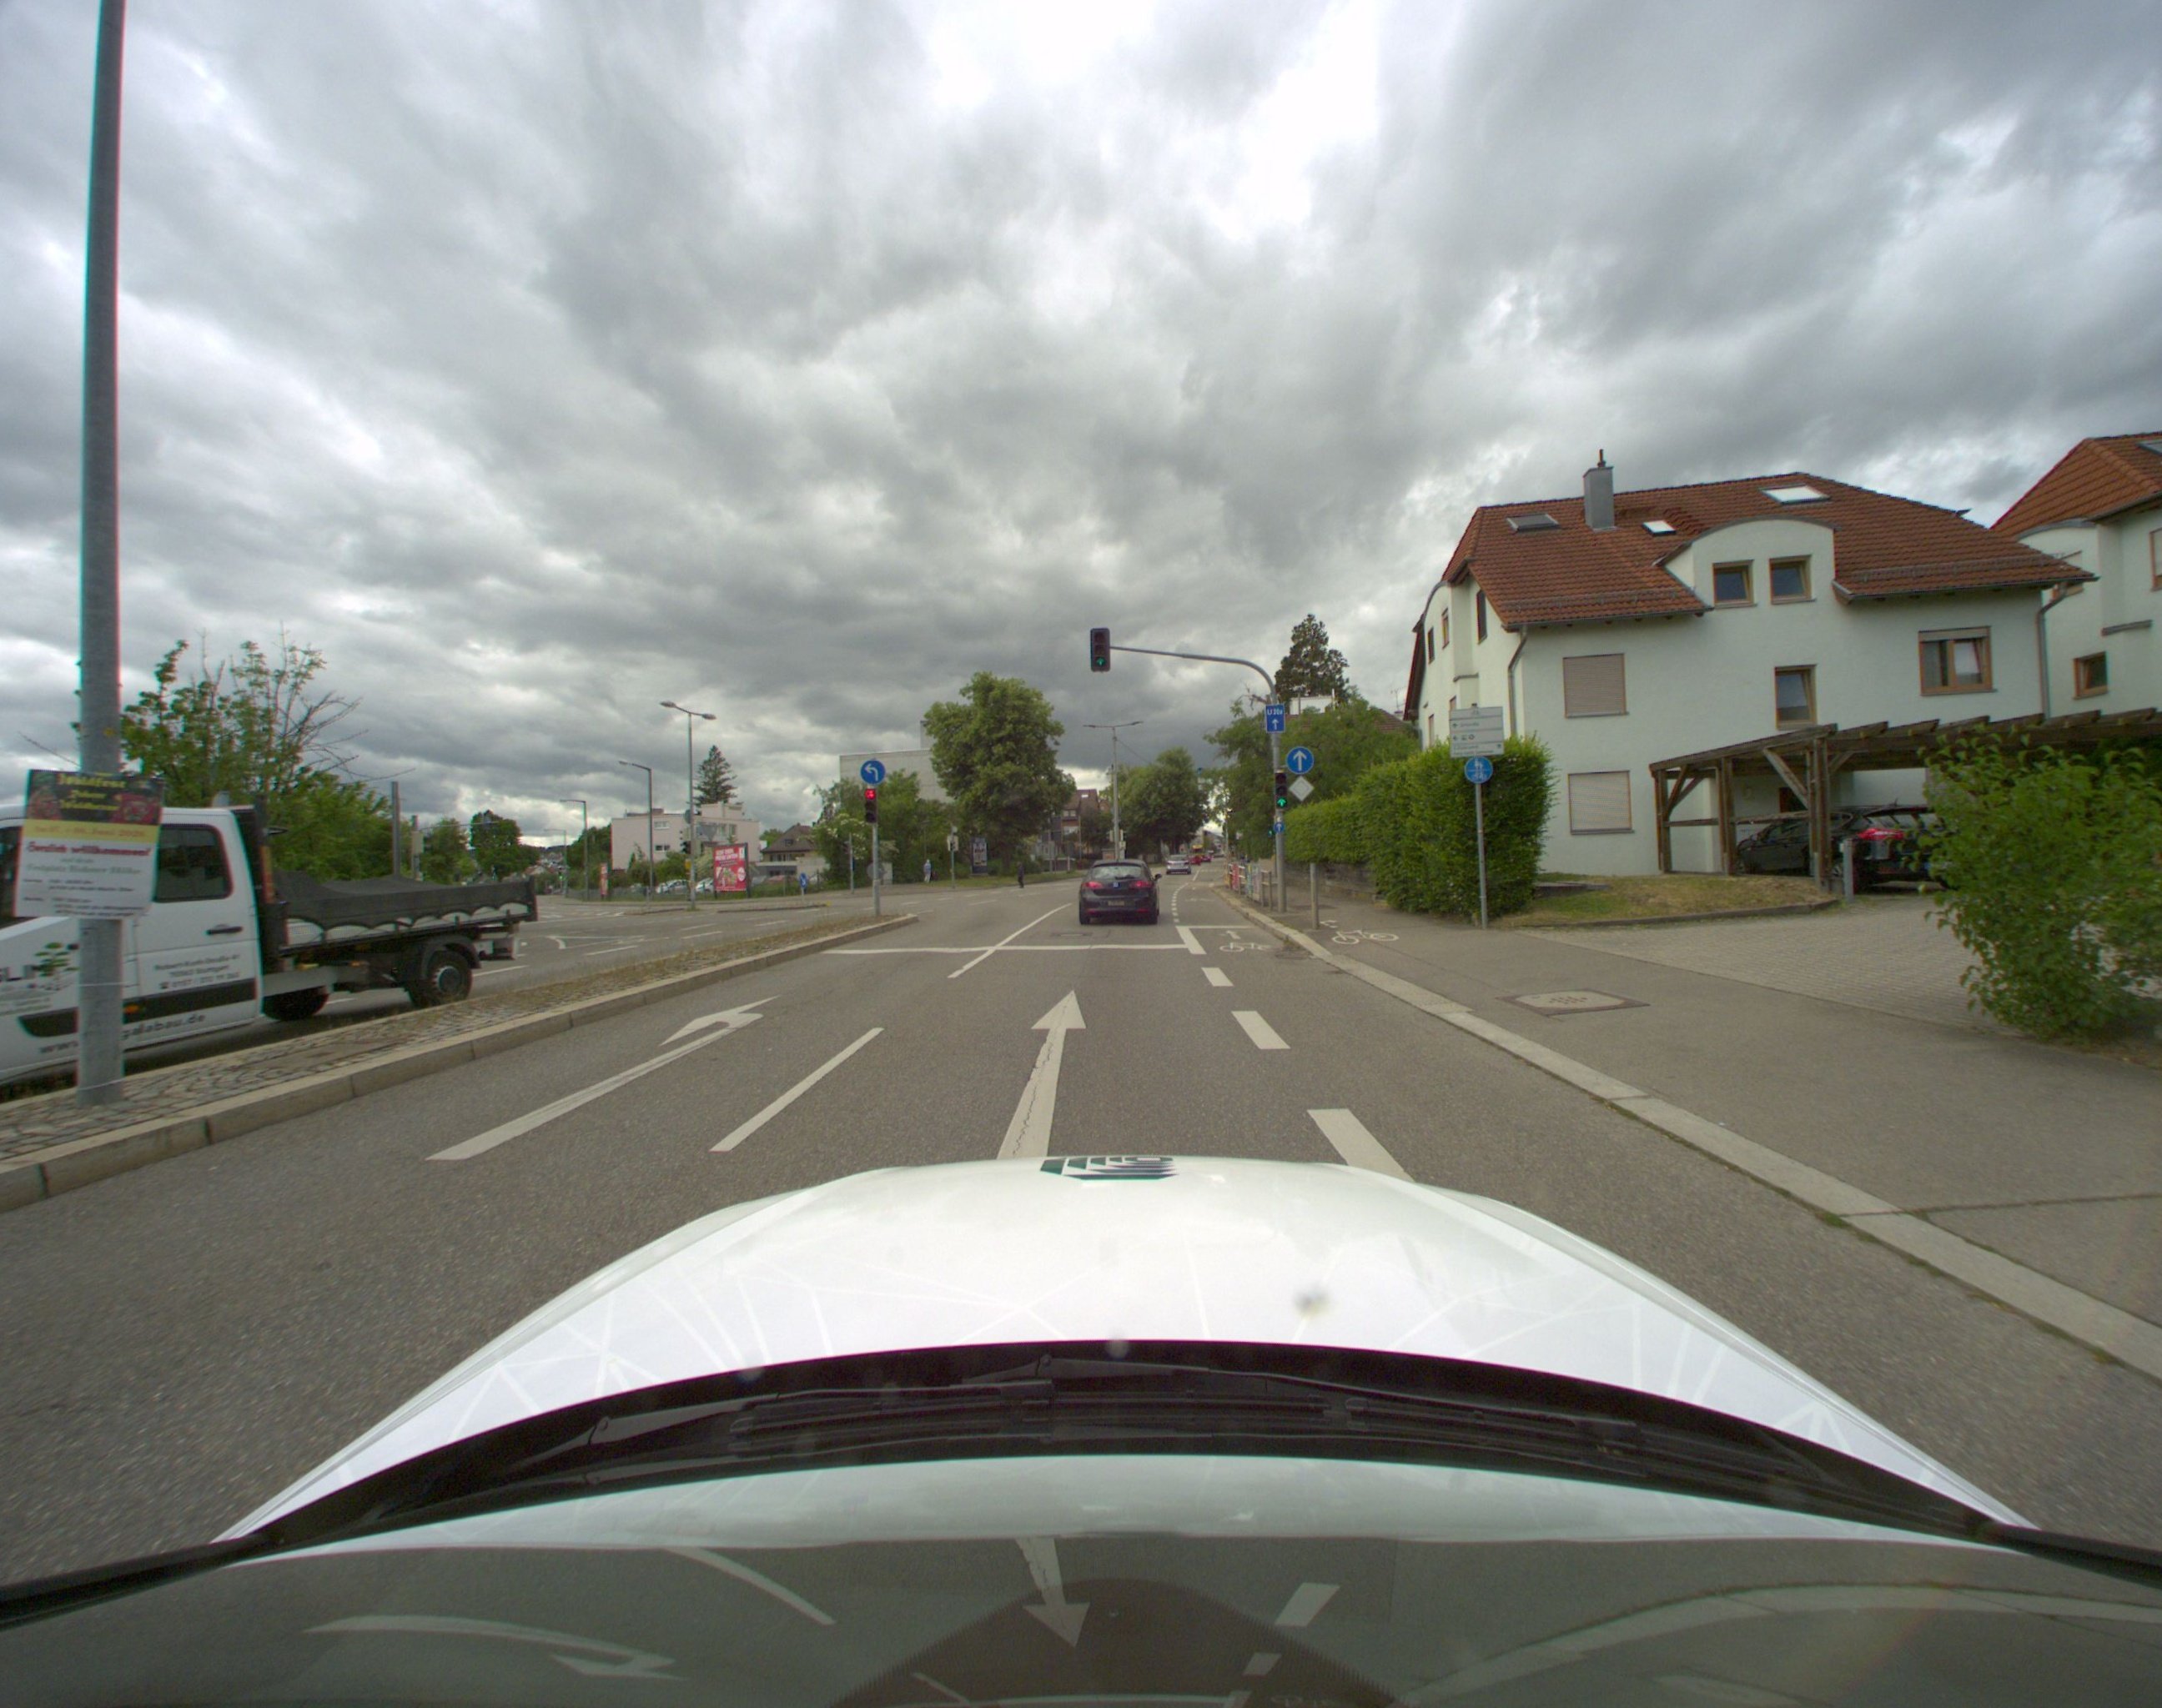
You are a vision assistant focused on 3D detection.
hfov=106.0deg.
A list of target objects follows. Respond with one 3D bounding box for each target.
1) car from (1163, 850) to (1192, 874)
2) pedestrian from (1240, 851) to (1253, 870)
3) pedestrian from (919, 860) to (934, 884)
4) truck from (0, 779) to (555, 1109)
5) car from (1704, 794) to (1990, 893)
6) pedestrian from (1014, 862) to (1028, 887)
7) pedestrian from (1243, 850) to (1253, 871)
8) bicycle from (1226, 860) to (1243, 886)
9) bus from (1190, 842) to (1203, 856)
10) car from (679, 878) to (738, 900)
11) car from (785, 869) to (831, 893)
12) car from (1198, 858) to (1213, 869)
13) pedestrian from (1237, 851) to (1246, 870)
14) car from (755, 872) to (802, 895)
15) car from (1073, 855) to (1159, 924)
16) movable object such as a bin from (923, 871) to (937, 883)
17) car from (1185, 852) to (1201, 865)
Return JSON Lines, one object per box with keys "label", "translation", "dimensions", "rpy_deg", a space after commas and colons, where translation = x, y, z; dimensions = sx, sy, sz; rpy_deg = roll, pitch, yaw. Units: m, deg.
{"label": "car", "translation": [7.397, 0.591, 62.351], "dimensions": [1.807, 1.699, 4.266], "rpy_deg": [-3, 0, 11]}
{"label": "pedestrian", "translation": [13.071, 0.532, 64.308], "dimensions": [0.516, 1.427, 0.614], "rpy_deg": [-5, -1, -42]}
{"label": "pedestrian", "translation": [-10.193, 1.175, 53.622], "dimensions": [0.652, 1.522, 0.925], "rpy_deg": [-2, -1, 7]}
{"label": "truck", "translation": [-8.359, 0.671, 7.548], "dimensions": [2.116, 2.264, 6.812], "rpy_deg": [-3, 0, 4]}
{"label": "car", "translation": [13.387, -0.159, 14.625], "dimensions": [1.659, 1.449, 4.008], "rpy_deg": [-3, -1, 7]}
{"label": "pedestrian", "translation": [-3.466, 1.175, 46.873], "dimensions": [0.771, 1.407, 0.600], "rpy_deg": [-1, 0, -3]}
{"label": "pedestrian", "translation": [12.866, 0.496, 62.867], "dimensions": [0.541, 1.555, 0.471], "rpy_deg": [-6, -1, 1]}
{"label": "bicycle", "translation": [6.429, 0.795, 34.169], "dimensions": [0.624, 1.028, 1.507], "rpy_deg": [-2, 0, 8]}
{"label": "bus", "translation": [27.383, -1.146, 193.526], "dimensions": [2.851, 3.136, 6.414], "rpy_deg": [-2, 0, 9]}
{"label": "car", "translation": [-29.805, 2.793, 65.256], "dimensions": [1.780, 1.554, 4.023], "rpy_deg": [-3, -1, 25]}
{"label": "car", "translation": [-25.063, 2.447, 74.913], "dimensions": [1.977, 2.014, 4.019], "rpy_deg": [0, 0, 19]}
{"label": "car", "translation": [20.746, 1.510, 135.957], "dimensions": [1.978, 1.684, 4.017], "rpy_deg": [-3, 0, 16]}
{"label": "pedestrian", "translation": [12.992, 0.516, 65.991], "dimensions": [0.545, 1.517, 0.363], "rpy_deg": [-5, 0, 19]}
{"label": "car", "translation": [-28.165, 2.725, 75.926], "dimensions": [1.977, 2.014, 4.019], "rpy_deg": [0, 0, 19]}
{"label": "car", "translation": [0.921, 0.752, 19.099], "dimensions": [1.750, 1.449, 3.721], "rpy_deg": [0, 0, 6]}
{"label": "movable object such as a bin", "translation": [-10.080, 1.528, 54.365], "dimensions": [0.652, 0.798, 0.899], "rpy_deg": [-2, -1, 7]}
{"label": "car", "translation": [14.527, 0.588, 105.463], "dimensions": [1.931, 1.481, 4.262], "rpy_deg": [-3, 0, 8]}
